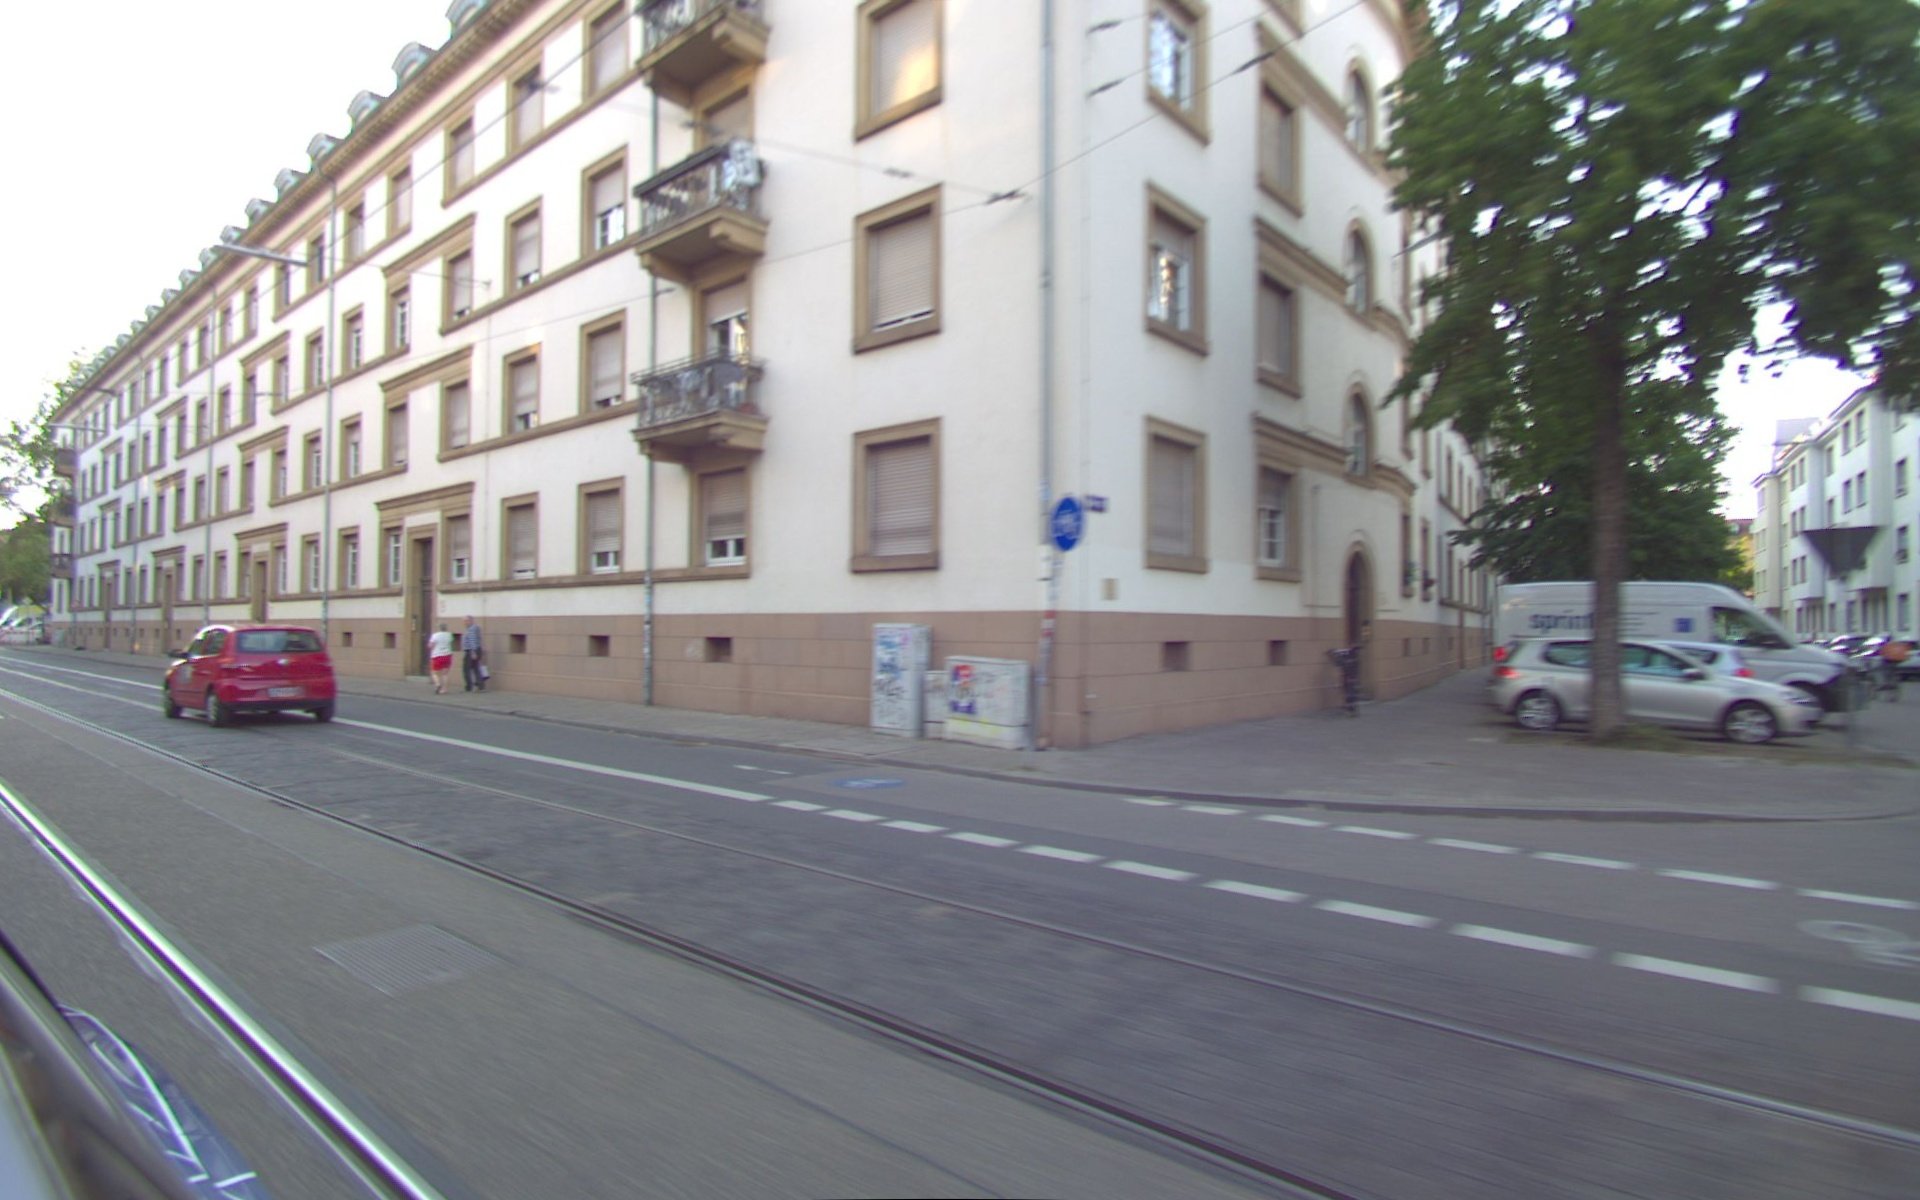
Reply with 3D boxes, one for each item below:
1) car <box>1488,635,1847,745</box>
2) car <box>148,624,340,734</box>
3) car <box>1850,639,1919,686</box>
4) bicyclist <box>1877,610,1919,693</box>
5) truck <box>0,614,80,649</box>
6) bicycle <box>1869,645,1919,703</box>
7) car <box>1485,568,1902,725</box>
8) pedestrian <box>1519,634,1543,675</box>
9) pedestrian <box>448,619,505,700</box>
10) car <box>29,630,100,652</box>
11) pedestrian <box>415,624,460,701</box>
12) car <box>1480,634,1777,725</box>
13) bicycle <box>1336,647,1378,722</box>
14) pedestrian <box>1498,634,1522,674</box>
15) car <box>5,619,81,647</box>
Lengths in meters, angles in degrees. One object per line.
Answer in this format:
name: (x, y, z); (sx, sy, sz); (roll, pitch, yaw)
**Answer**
car: (10.410, 1.244, 15.247); (4.168, 1.433, 1.977); (-1, -3, 34)
car: (-11.567, 1.206, 16.273); (3.751, 1.570, 1.543); (-2, -4, 39)
car: (34.001, 2.223, 36.678); (1.917, 1.615, 3.957); (-1, -3, 32)
bicyclist: (23.879, 1.288, 25.488); (0.944, 2.029, 1.204); (-1, -3, 33)
truck: (-93.102, 3.162, 101.523); (2.563, 3.455, 6.990); (-2, -2, 38)
bicycle: (23.890, 1.832, 25.486); (0.955, 1.364, 3.145); (-1, -3, 33)
car: (13.592, 0.856, 19.351); (6.113, 2.609, 2.073); (-1, -3, 33)
pedestrian: (28.838, 2.733, 51.129); (0.925, 2.029, 0.867); (-2, -3, 38)
pedestrian: (-10.659, 1.293, 22.308); (0.980, 1.714, 0.787); (-2, -3, 39)
car: (-83.708, 3.837, 94.663); (2.015, 1.888, 4.780); (-3, -2, 43)
pedestrian: (-11.329, 1.339, 21.949); (0.810, 1.622, 0.584); (-2, -3, 39)
car: (11.616, 1.327, 17.867); (4.168, 1.433, 1.775); (-1, -3, 34)
bicycle: (6.885, 1.430, 17.522); (0.600, 1.222, 1.670); (-1, -2, 24)
pedestrian: (28.097, 2.755, 51.717); (0.925, 2.029, 0.867); (-2, -3, 38)
car: (-88.577, 3.192, 97.782); (2.226, 2.617, 5.169); (-2, -2, 38)
